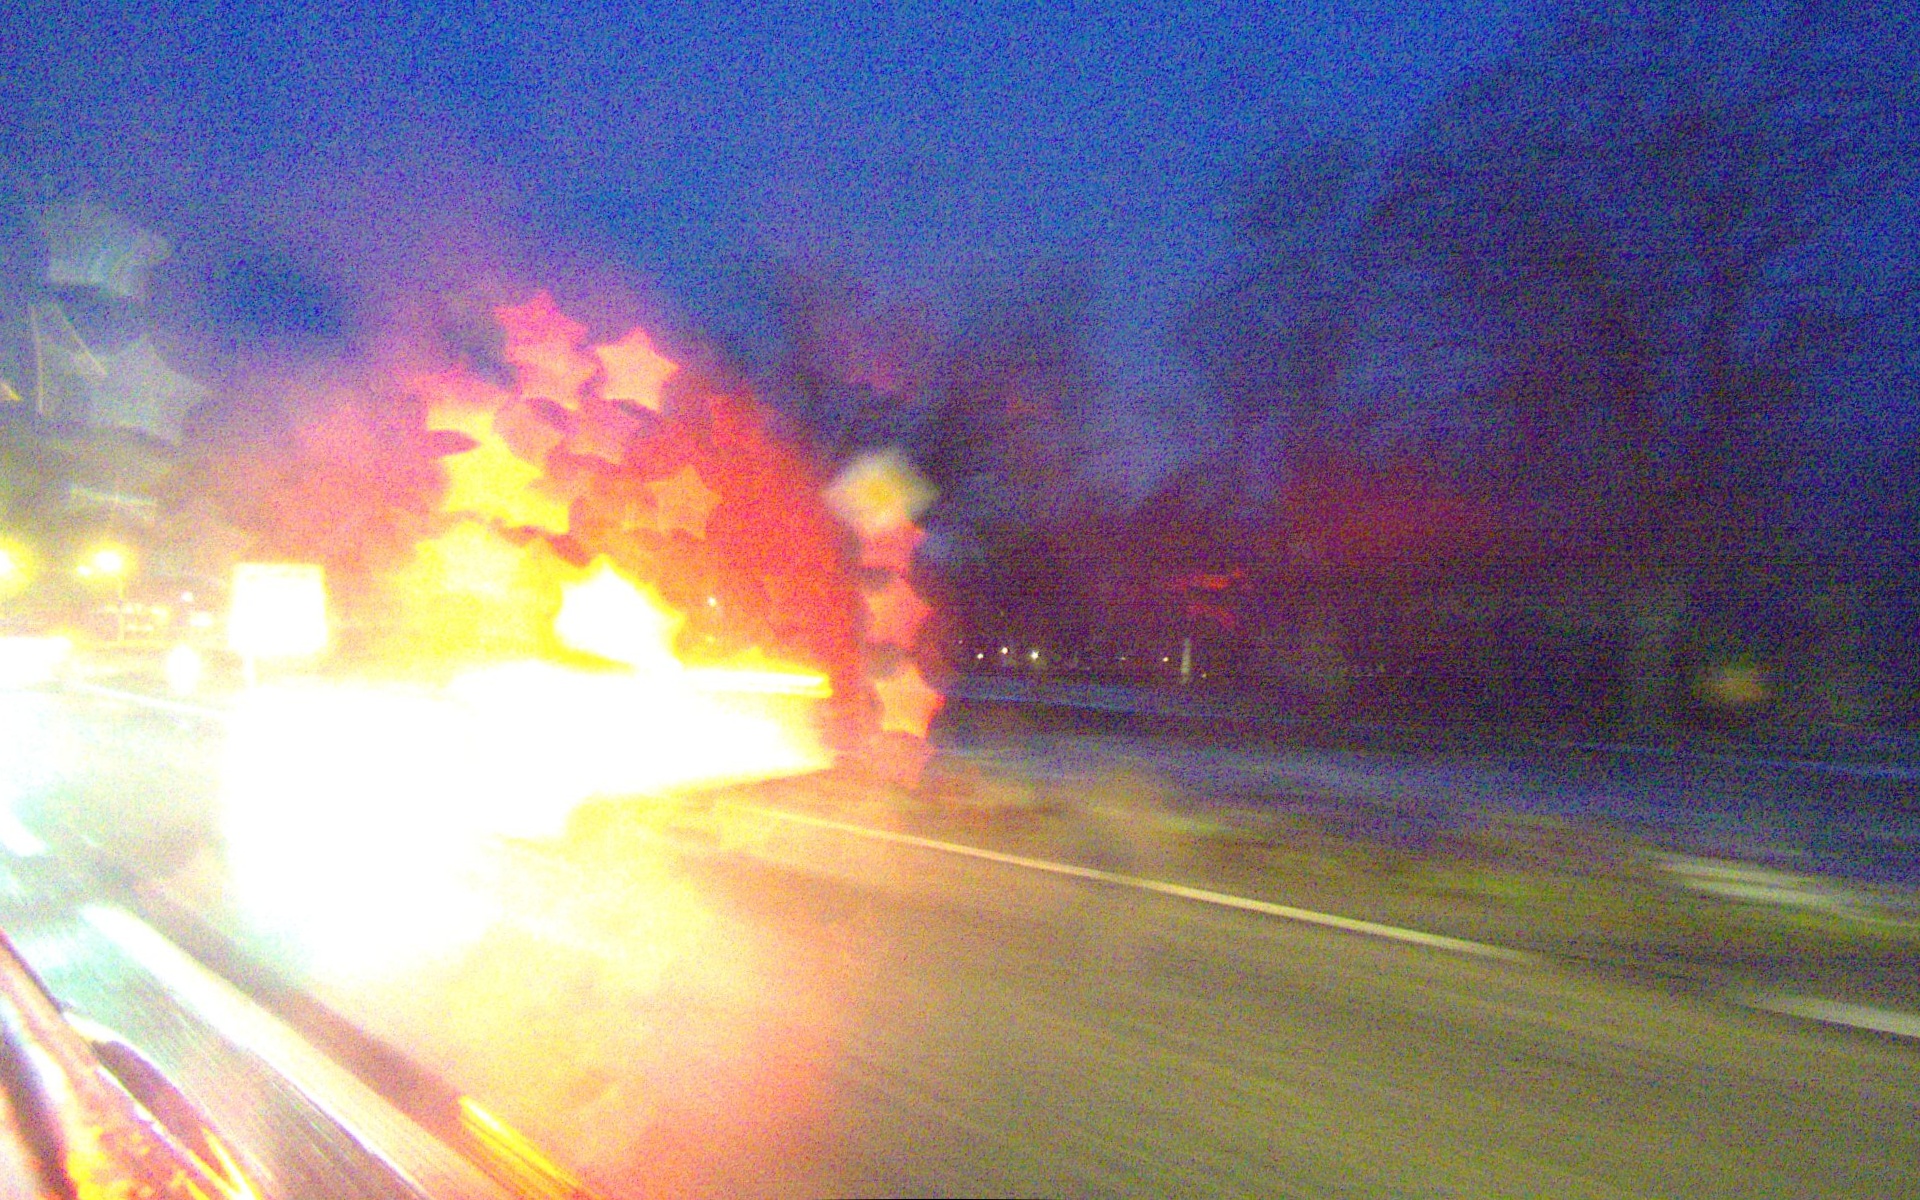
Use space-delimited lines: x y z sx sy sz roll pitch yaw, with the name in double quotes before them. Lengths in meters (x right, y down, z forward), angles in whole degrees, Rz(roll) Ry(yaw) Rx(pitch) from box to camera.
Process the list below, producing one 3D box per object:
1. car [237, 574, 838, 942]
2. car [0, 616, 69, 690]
"car" -2.865 0.711 6.403 4.187 1.584 1.784 -1 -1 40
"car" -22.226 1.203 23.591 3.728 1.627 1.624 -1 -3 40
